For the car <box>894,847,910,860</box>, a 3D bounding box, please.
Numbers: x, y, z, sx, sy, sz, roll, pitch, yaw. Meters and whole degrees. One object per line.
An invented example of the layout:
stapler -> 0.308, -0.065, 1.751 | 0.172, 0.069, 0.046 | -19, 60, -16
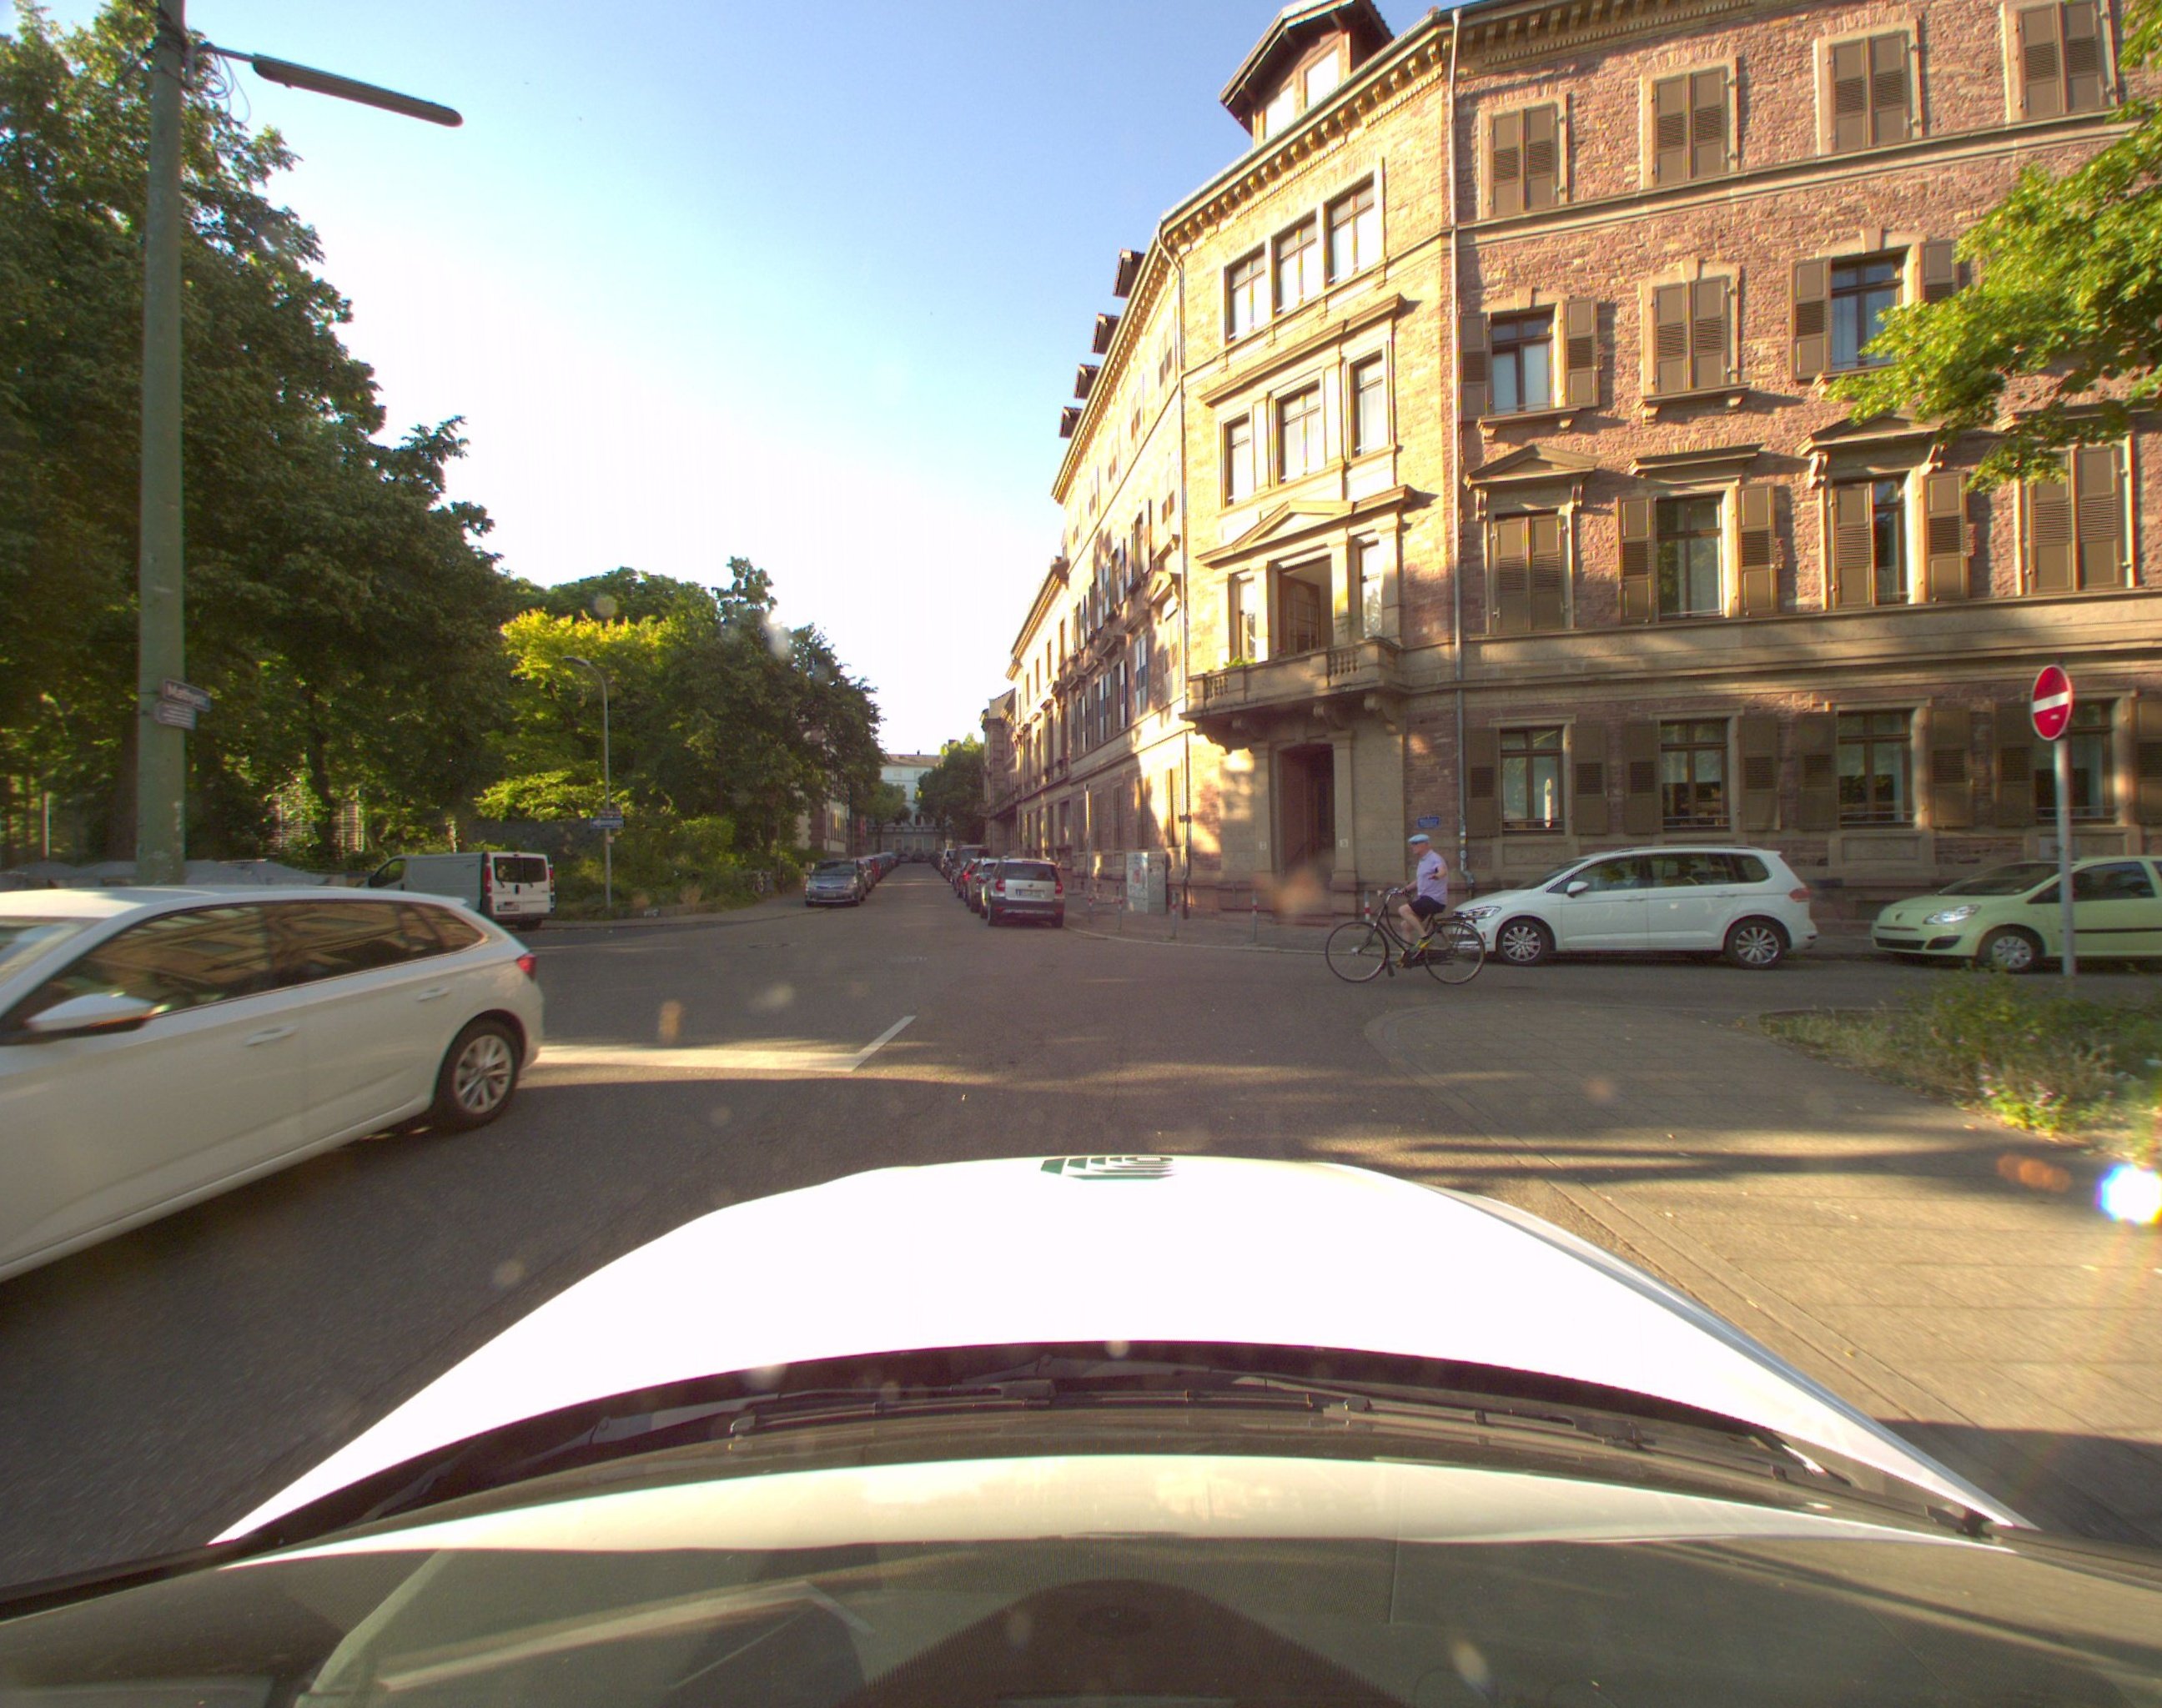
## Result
car -> -25.655, -0.083, 116.635 | 1.998, 1.684, 3.977 | 0, -2, -17

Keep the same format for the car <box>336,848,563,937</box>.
car -> -15.571, 0.910, 20.156 | 4.611, 2.003, 1.958 | -1, 0, 14

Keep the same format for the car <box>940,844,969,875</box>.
car -> -9.047, 0.388, 58.150 | 1.798, 2.072, 3.940 | 2, 0, -11

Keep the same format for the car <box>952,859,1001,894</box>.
car -> -4.624, 0.956, 35.624 | 1.798, 1.345, 3.940 | 2, 0, -11

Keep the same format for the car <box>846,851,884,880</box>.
car -> -12.470, 0.637, 47.223 | 1.826, 1.500, 3.917 | 2, 0, -11

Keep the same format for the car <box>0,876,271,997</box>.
car -> -14.030, 1.090, 11.404 | 3.757, 1.521, 1.588 | 2, -2, -44

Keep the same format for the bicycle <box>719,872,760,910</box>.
bicycle -> -11.106, 1.169, 26.587 | 0.596, 1.101, 2.619 | -1, 1, -9

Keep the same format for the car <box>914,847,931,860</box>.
car -> -22.901, -0.060, 117.842 | 1.998, 1.684, 3.977 | 0, -2, -17

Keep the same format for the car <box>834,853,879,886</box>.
car -> -11.284, 0.753, 41.097 | 1.826, 1.478, 3.917 | 2, 0, -11

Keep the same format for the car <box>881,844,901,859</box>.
car -> -19.627, -0.266, 84.163 | 1.826, 1.500, 3.917 | 2, 0, -11

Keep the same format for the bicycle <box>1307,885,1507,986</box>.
bicycle -> 3.790, 0.936, 9.636 | 2.103, 1.054, 0.703 | 1, 1, 11

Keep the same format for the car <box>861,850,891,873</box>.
car -> -14.749, 0.506, 58.793 | 1.826, 1.500, 3.917 | 2, 0, -11

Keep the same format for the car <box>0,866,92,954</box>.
car -> -19.263, 0.910, 13.379 | 3.639, 1.447, 1.588 | 2, -2, -44

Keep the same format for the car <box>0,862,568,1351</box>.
car -> -4.265, 0.830, 3.395 | 1.697, 1.456, 4.061 | -1, 1, -1

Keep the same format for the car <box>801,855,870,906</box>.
car -> -8.714, 0.900, 29.219 | 1.826, 1.615, 4.275 | 2, 0, -11

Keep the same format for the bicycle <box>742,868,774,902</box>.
bicycle -> -11.574, 1.098, 29.256 | 0.597, 1.101, 2.617 | -1, 1, -11

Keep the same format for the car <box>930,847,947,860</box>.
car -> -20.833, -0.062, 118.762 | 1.998, 1.684, 3.977 | 0, -2, -17

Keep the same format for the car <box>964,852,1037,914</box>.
car -> -2.627, 0.841, 25.670 | 1.826, 1.723, 4.527 | 2, 0, -11

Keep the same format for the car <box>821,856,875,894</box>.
car -> -10.136, 0.884, 35.669 | 1.826, 1.447, 3.917 | 2, 0, -11

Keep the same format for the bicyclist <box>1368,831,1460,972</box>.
bicyclist -> 3.907, 0.526, 9.613 | 0.865, 1.588, 0.703 | 1, 0, 11

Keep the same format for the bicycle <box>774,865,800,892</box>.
bicycle -> -12.839, 1.043, 35.623 | 0.597, 1.101, 2.619 | -1, 1, -9

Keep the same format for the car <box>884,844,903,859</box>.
car -> -20.502, -0.278, 89.171 | 1.826, 1.500, 3.917 | 2, 0, -11

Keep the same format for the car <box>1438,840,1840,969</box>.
car -> 7.779, 0.697, 11.895 | 4.450, 1.650, 1.882 | -1, -2, 14

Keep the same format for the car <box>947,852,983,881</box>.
car -> -6.796, 0.713, 47.517 | 1.798, 1.523, 3.940 | 2, 0, -11

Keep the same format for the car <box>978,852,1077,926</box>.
car -> -1.485, 0.819, 20.789 | 1.917, 1.657, 4.170 | 2, 0, -12

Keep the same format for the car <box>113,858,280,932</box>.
car -> -24.651, 1.115, 22.711 | 3.859, 1.903, 1.583 | -1, 0, 17

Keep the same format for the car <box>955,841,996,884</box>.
car -> -5.437, 0.390, 41.688 | 1.798, 2.072, 3.940 | 2, 0, -11

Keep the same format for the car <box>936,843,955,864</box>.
car -> -13.977, -0.037, 83.733 | 1.798, 2.017, 3.940 | 2, 0, -11

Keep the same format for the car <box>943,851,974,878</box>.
car -> -7.935, 0.629, 52.569 | 1.798, 1.623, 3.940 | 2, 0, -11

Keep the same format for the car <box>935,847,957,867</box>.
car -> -12.355, 0.210, 74.425 | 1.798, 1.727, 3.940 | 2, 0, -11

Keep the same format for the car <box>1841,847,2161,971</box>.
car -> 12.829, 0.696, 10.762 | 3.687, 1.490, 1.748 | -1, -2, 13

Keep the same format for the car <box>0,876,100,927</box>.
car -> -33.594, 1.484, 26.055 | 3.559, 1.467, 1.584 | -1, 1, 18

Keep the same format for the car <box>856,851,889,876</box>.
car -> -13.738, 0.611, 53.807 | 1.826, 1.500, 3.917 | 2, 0, -11

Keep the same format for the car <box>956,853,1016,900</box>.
car -> -3.680, 0.809, 30.956 | 1.800, 1.614, 3.937 | 2, 0, -14
